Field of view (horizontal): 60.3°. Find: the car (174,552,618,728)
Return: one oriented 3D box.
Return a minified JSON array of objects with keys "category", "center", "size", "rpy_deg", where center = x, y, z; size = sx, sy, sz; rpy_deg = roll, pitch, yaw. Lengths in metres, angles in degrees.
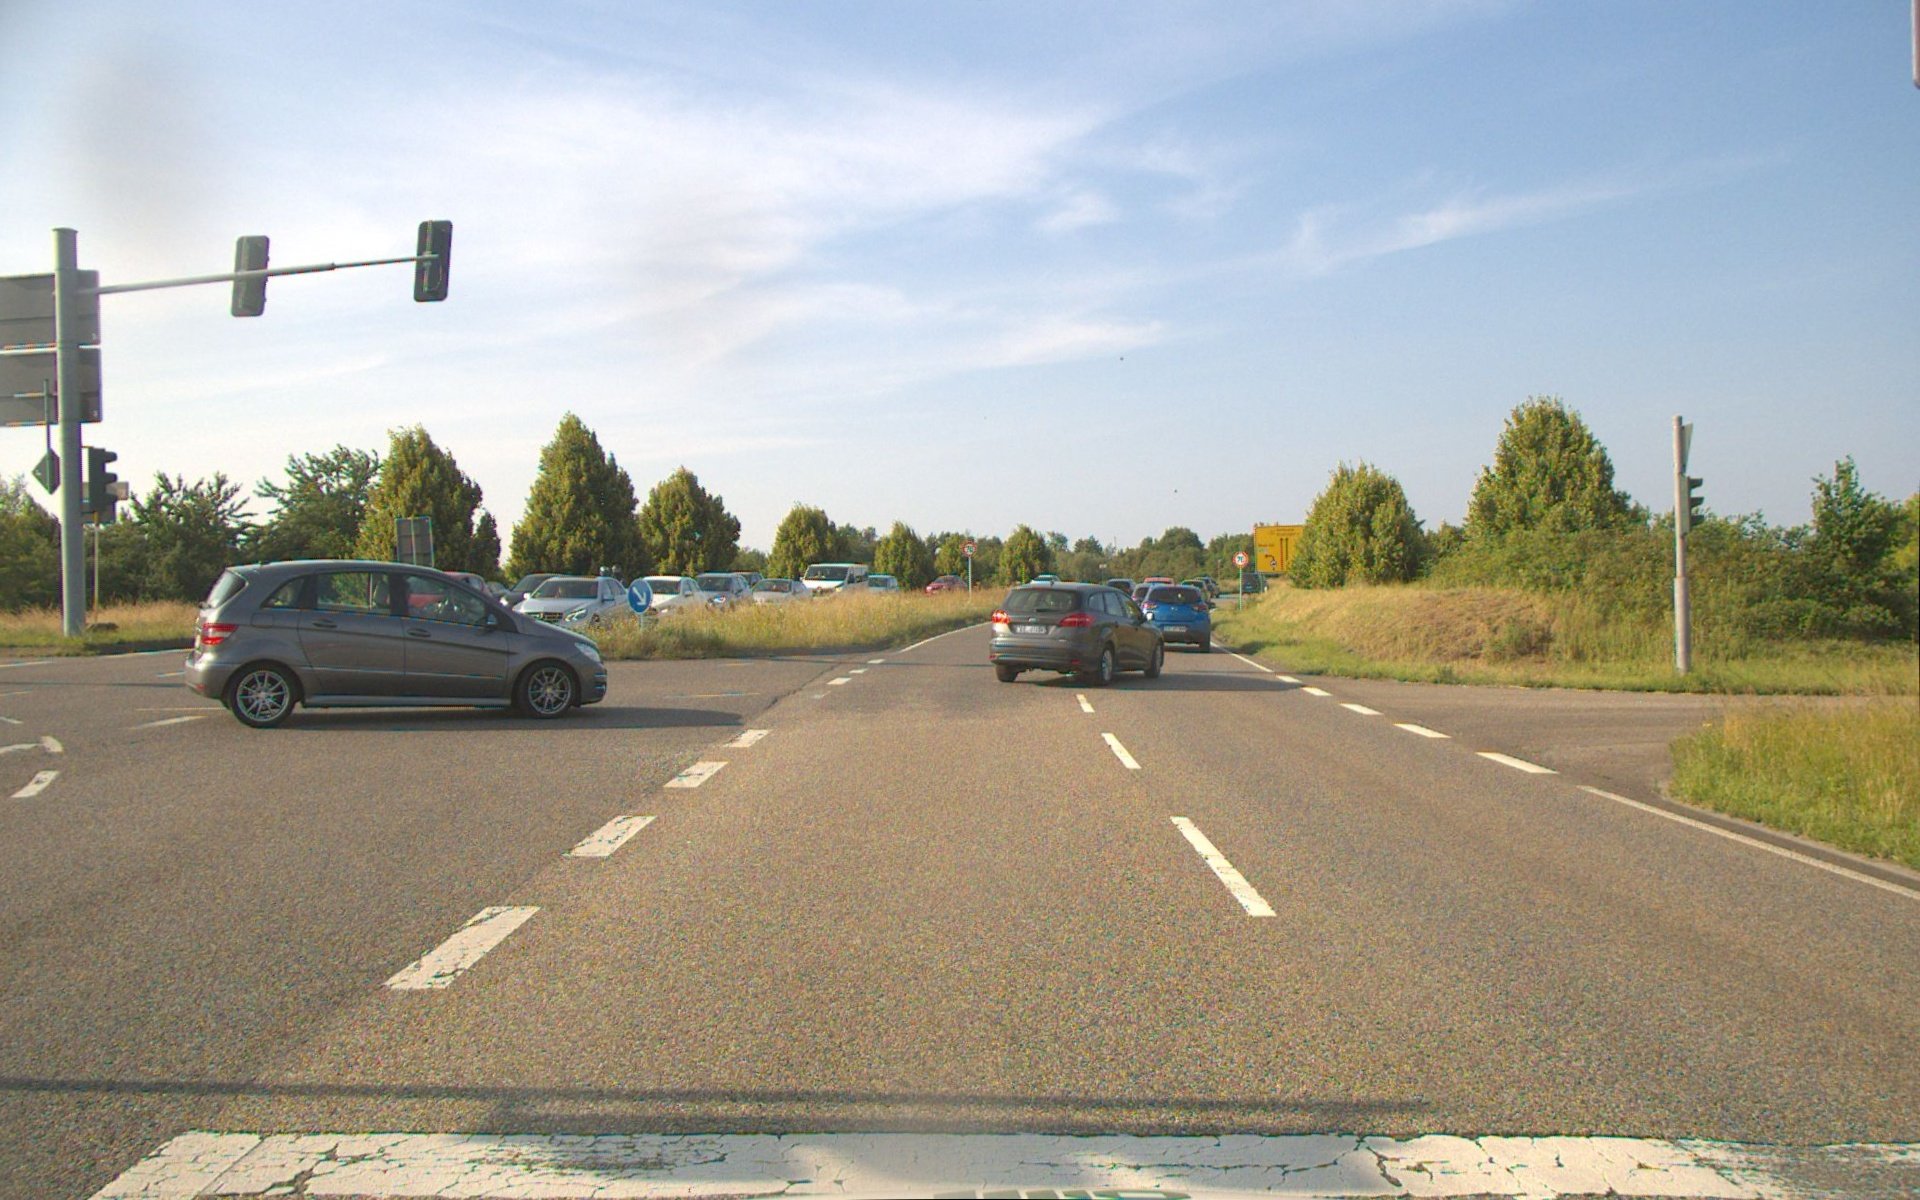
[{"category":"car","center":[-5.831,0.408,17.190],"size":[4.135,1.633,1.773],"rpy_deg":[1,-1,-29]}]

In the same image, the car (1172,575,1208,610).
[{"category":"car","center":[12.628,-0.407,90.977],"size":[1.868,1.831,4.281],"rpy_deg":[0,-1,7]}]

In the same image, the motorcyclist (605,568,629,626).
[{"category":"motorcyclist","center":[-11.032,-0.101,53.205],"size":[0.649,1.848,0.605],"rpy_deg":[0,0,-4]}]

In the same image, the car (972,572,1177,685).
[{"category":"car","center":[1.893,0.396,25.775],"size":[1.773,1.593,4.529],"rpy_deg":[0,0,24]}]

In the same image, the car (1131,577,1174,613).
[{"category":"car","center":[8.781,-0.208,75.579],"size":[1.855,1.592,4.281],"rpy_deg":[0,-1,6]}]

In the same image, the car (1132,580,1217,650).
[{"category":"car","center":[4.999,0.303,38.223],"size":[1.735,1.518,3.989],"rpy_deg":[0,1,10]}]

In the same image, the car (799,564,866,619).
[{"category":"car","center":[-5.069,-0.342,66.287],"size":[1.884,2.114,4.247],"rpy_deg":[0,0,7]}]

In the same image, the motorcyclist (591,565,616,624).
[{"category":"motorcyclist","center":[-10.859,-0.159,50.334],"size":[0.649,1.778,0.605],"rpy_deg":[0,0,-4]}]

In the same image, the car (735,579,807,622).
[{"category":"car","center":[-6.438,0.012,56.732],"size":[1.748,1.410,4.053],"rpy_deg":[0,0,4]}]

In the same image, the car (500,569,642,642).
[{"category":"car","center":[-8.511,0.092,36.575],"size":[1.748,1.514,4.653],"rpy_deg":[0,0,4]}]

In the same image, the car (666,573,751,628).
[{"category":"car","center":[-7.644,-0.013,50.601],"size":[1.748,1.596,4.053],"rpy_deg":[0,0,4]}]

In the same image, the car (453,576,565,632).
[{"category":"car","center":[-12.327,0.086,45.444],"size":[1.748,1.458,4.053],"rpy_deg":[0,0,4]}]

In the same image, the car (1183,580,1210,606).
[{"category":"car","center":[17.095,-0.470,119.667],"size":[1.868,1.765,4.281],"rpy_deg":[0,-1,7]}]

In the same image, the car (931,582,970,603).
[{"category":"car","center":[-0.630,-0.518,112.317],"size":[1.748,1.410,4.055],"rpy_deg":[0,0,13]}]

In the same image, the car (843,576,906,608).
[{"category":"car","center":[-3.813,-0.379,74.411],"size":[1.748,1.410,4.055],"rpy_deg":[0,0,13]}]

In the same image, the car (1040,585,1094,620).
[{"category":"car","center":[4.298,0.125,65.991],"size":[1.868,1.346,4.281],"rpy_deg":[0,-1,7]}]

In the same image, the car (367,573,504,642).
[{"category":"car","center":[-12.080,0.151,38.307],"size":[1.684,1.514,3.807],"rpy_deg":[0,0,5]}]

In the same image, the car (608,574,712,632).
[{"category":"car","center":[-7.968,0.048,44.322],"size":[1.748,1.458,4.311],"rpy_deg":[0,0,4]}]

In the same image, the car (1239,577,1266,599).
[{"category":"car","center":[24.108,-0.966,136.492],"size":[1.868,1.765,4.280],"rpy_deg":[0,-1,5]}]

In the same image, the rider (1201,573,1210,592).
[{"category":"rider","center":[26.281,-1.893,176.893],"size":[0.849,2.049,0.772],"rpy_deg":[0,0,15]}]

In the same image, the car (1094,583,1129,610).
[{"category":"car","center":[8.215,-0.184,89.387],"size":[1.797,1.401,4.281],"rpy_deg":[0,-1,6]}]

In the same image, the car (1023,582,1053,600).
[{"category":"car","center":[6.253,-0.713,132.047],"size":[1.748,1.410,4.055],"rpy_deg":[0,0,13]}]

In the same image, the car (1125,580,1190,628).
[{"category":"car","center":[6.268,0.147,52.880],"size":[1.874,1.440,3.797],"rpy_deg":[0,-1,4]}]
